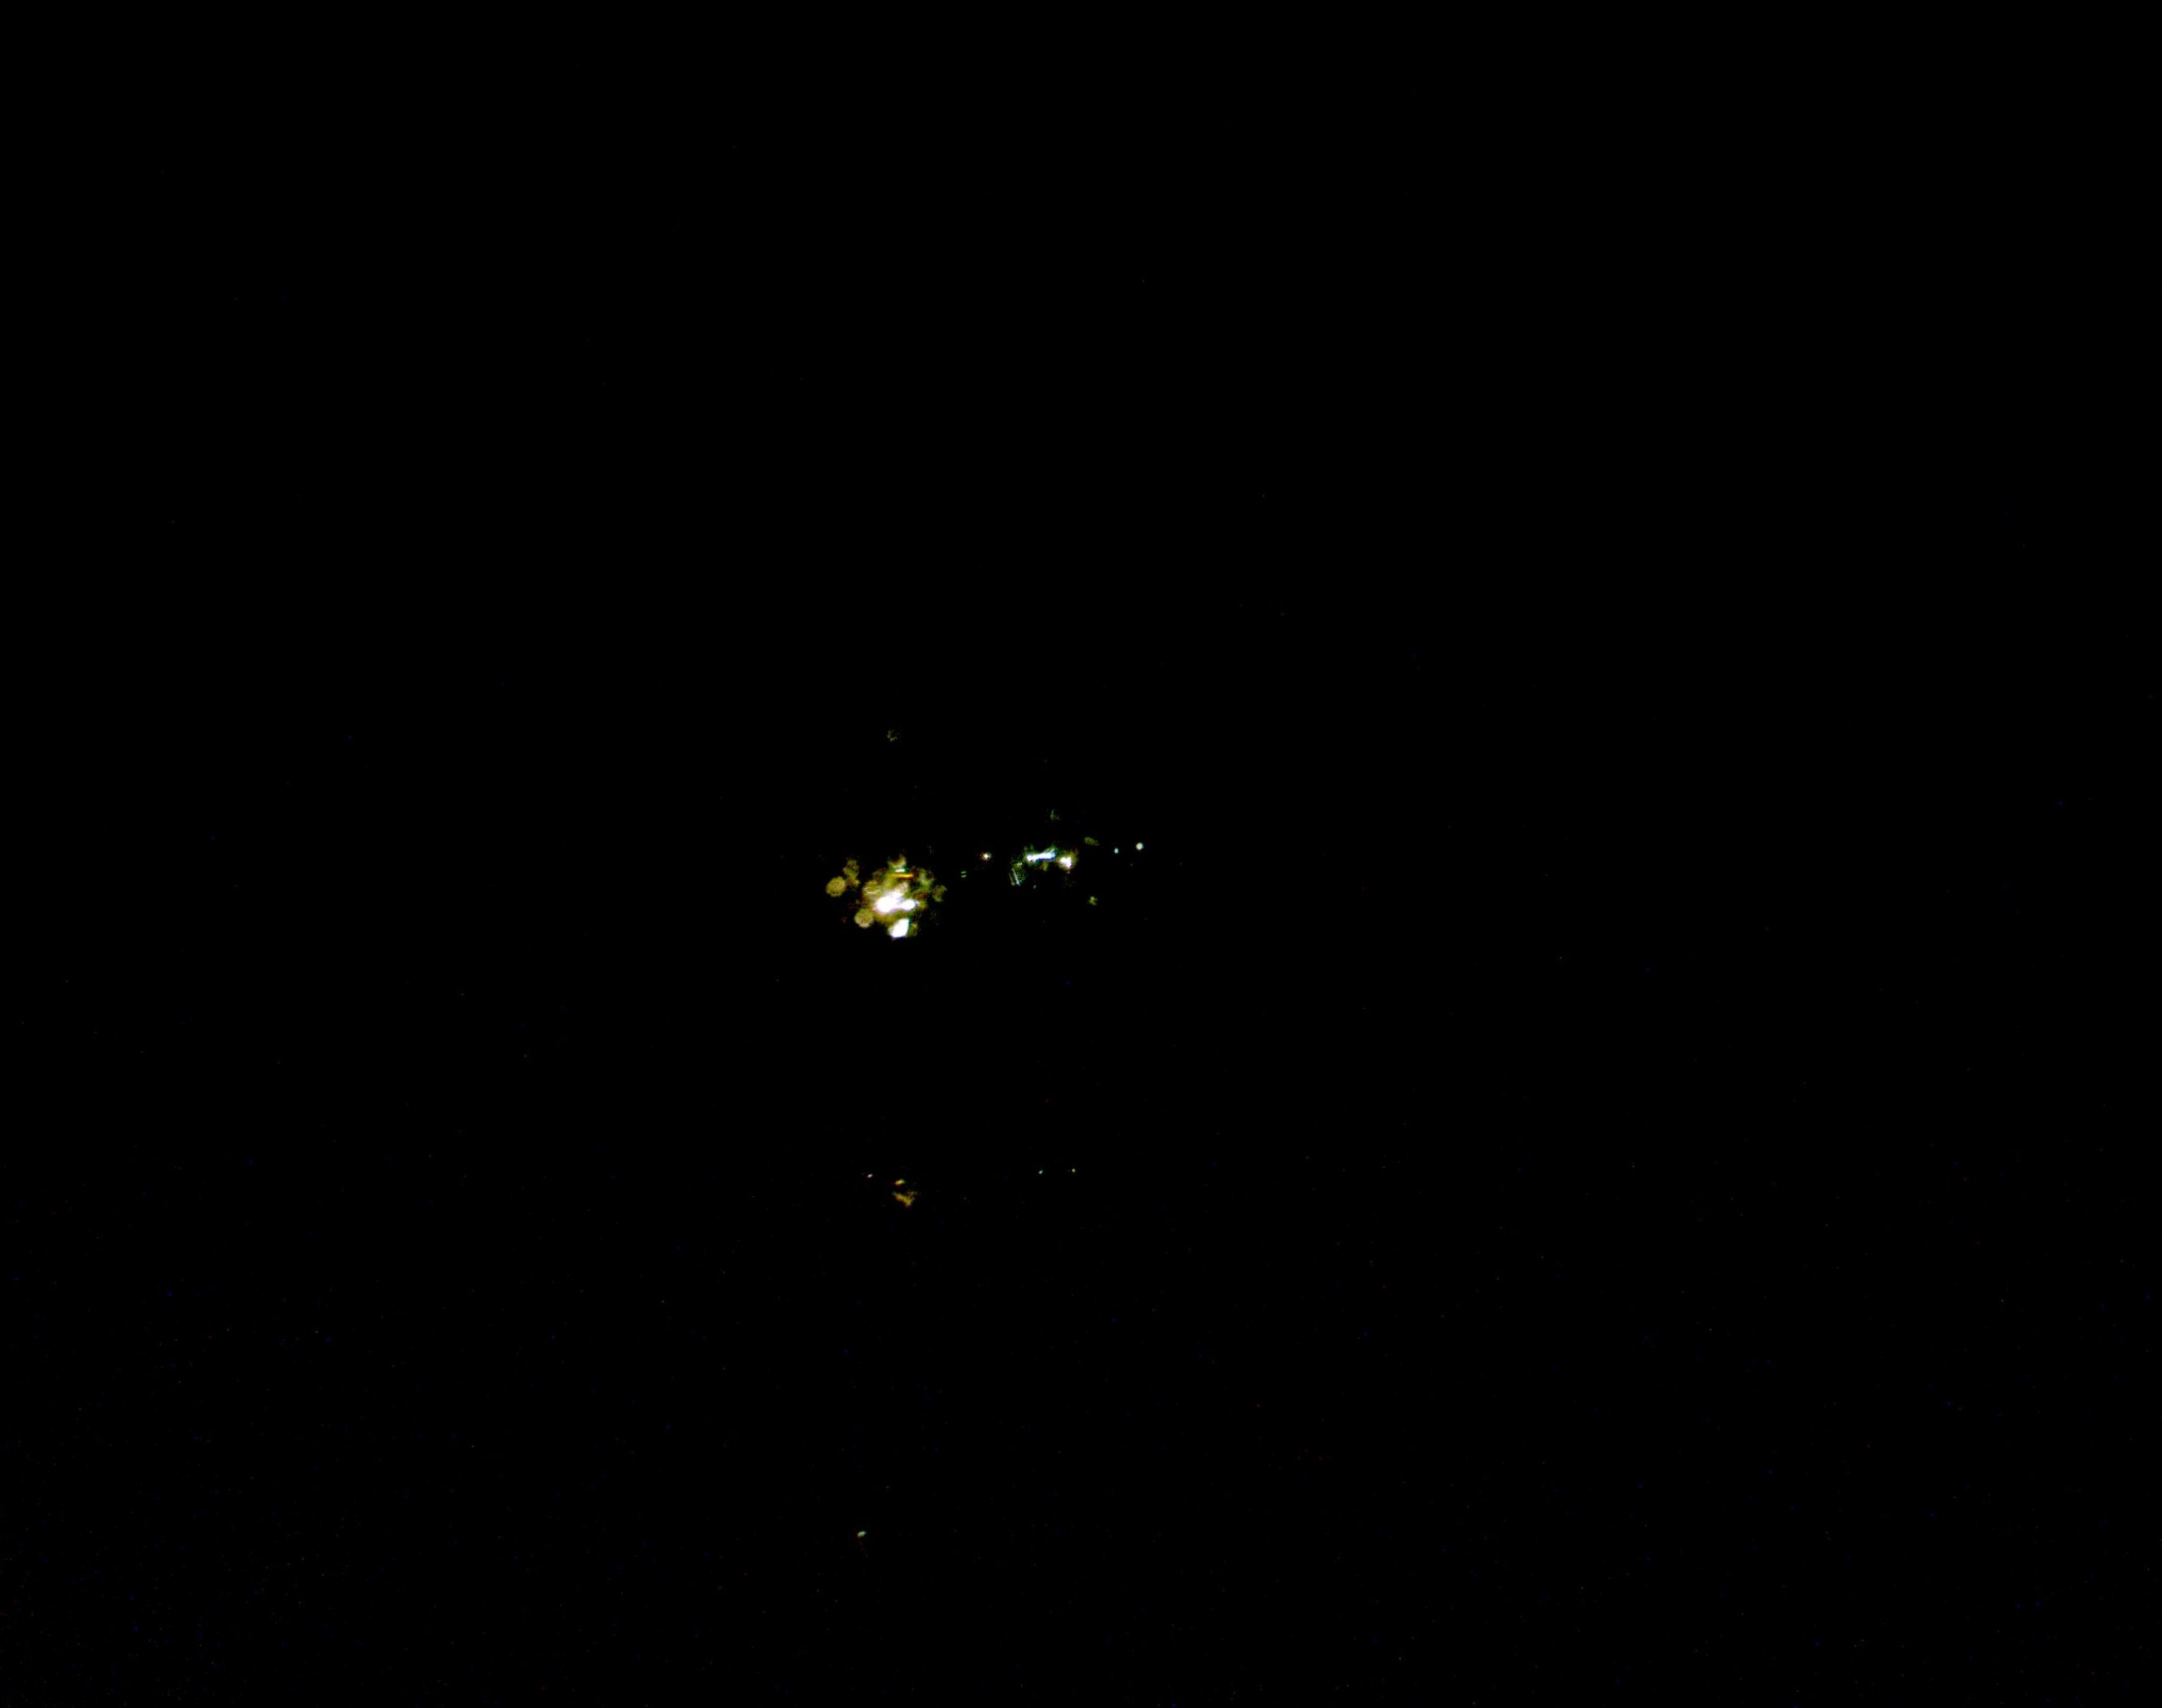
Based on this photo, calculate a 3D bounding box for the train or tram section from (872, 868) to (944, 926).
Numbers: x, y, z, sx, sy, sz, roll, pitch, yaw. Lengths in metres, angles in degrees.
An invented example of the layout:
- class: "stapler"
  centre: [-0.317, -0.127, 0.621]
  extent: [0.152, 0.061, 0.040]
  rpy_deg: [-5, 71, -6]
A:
- class: "train or tram section"
  centre: [-11.472, 2.746, 54.865]
  extent: [2.834, 3.460, 8.554]
  rpy_deg: [-1, 0, 1]
